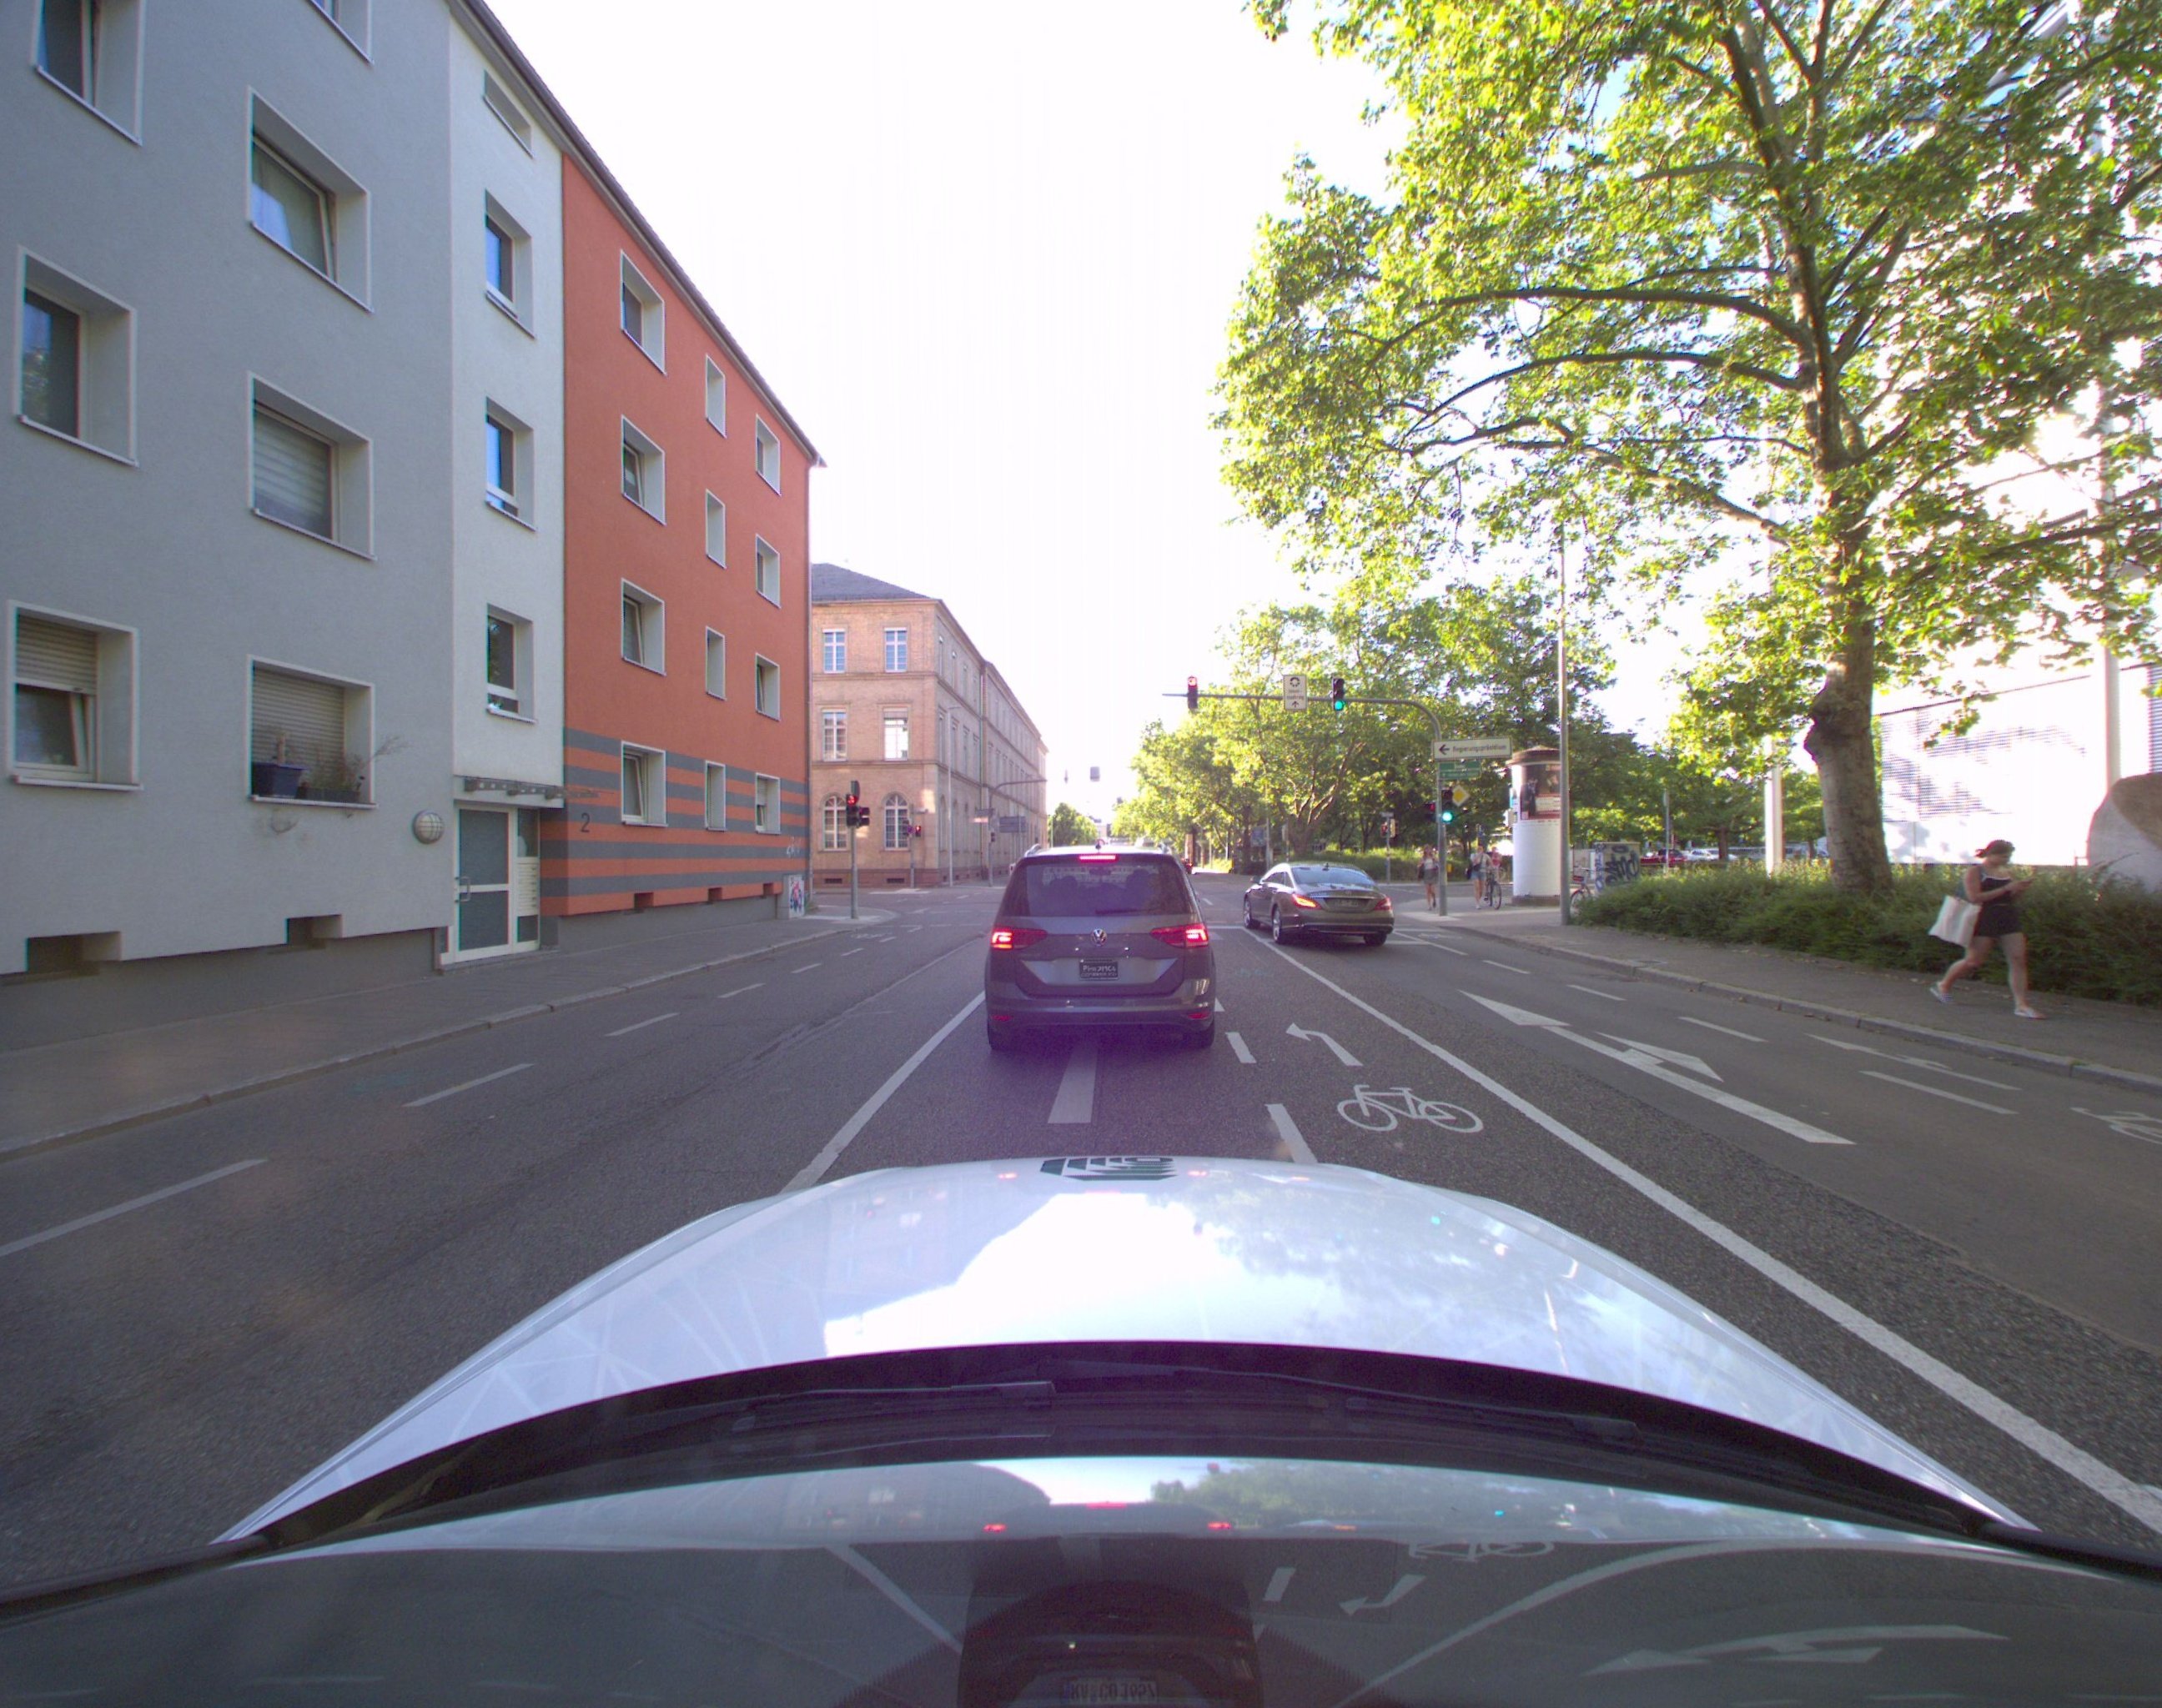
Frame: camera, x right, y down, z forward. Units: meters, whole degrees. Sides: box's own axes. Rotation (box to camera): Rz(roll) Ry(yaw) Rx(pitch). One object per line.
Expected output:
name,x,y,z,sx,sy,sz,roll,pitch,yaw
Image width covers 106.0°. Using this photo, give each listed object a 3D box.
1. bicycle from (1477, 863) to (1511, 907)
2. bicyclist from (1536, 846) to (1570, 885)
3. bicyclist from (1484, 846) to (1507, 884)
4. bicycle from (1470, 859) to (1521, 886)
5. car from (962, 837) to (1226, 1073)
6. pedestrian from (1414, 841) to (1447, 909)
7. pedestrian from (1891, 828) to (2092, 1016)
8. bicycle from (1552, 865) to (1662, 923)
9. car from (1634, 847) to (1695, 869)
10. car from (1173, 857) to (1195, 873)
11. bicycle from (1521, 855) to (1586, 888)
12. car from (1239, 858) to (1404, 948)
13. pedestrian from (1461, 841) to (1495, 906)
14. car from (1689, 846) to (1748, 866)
bicycle,10.969,0.805,21.656,0.520,1.100,1.749,0,-1,17
bicyclist,19.556,0.466,33.759,0.959,1.615,0.871,0,-1,5
bicyclist,18.884,0.499,37.141,0.707,1.697,0.676,0,-1,3
bicycle,18.906,0.840,37.134,2.022,1.220,0.600,0,-1,2
car,0.240,0.721,7.636,1.801,1.612,4.005,-1,0,4
pedestrian,9.451,0.564,22.065,0.726,1.808,0.913,-2,-2,20
pedestrian,8.468,0.602,7.631,0.794,1.630,0.908,-2,-1,4
bicycle,11.013,0.823,17.079,1.968,1.190,0.528,0,-1,1
car,40.691,0.277,56.862,1.623,1.482,3.797,0,0,2
car,9.515,0.992,75.534,1.682,1.440,3.905,2,0,3
bicycle,19.559,0.713,33.719,2.279,1.326,0.661,0,-1,3
car,4.269,0.798,15.218,1.836,1.429,4.518,0,0,1
pedestrian,10.570,0.514,21.699,0.678,1.697,0.975,0,-1,17
car,48.415,0.146,61.947,1.566,1.468,3.797,0,0,2
